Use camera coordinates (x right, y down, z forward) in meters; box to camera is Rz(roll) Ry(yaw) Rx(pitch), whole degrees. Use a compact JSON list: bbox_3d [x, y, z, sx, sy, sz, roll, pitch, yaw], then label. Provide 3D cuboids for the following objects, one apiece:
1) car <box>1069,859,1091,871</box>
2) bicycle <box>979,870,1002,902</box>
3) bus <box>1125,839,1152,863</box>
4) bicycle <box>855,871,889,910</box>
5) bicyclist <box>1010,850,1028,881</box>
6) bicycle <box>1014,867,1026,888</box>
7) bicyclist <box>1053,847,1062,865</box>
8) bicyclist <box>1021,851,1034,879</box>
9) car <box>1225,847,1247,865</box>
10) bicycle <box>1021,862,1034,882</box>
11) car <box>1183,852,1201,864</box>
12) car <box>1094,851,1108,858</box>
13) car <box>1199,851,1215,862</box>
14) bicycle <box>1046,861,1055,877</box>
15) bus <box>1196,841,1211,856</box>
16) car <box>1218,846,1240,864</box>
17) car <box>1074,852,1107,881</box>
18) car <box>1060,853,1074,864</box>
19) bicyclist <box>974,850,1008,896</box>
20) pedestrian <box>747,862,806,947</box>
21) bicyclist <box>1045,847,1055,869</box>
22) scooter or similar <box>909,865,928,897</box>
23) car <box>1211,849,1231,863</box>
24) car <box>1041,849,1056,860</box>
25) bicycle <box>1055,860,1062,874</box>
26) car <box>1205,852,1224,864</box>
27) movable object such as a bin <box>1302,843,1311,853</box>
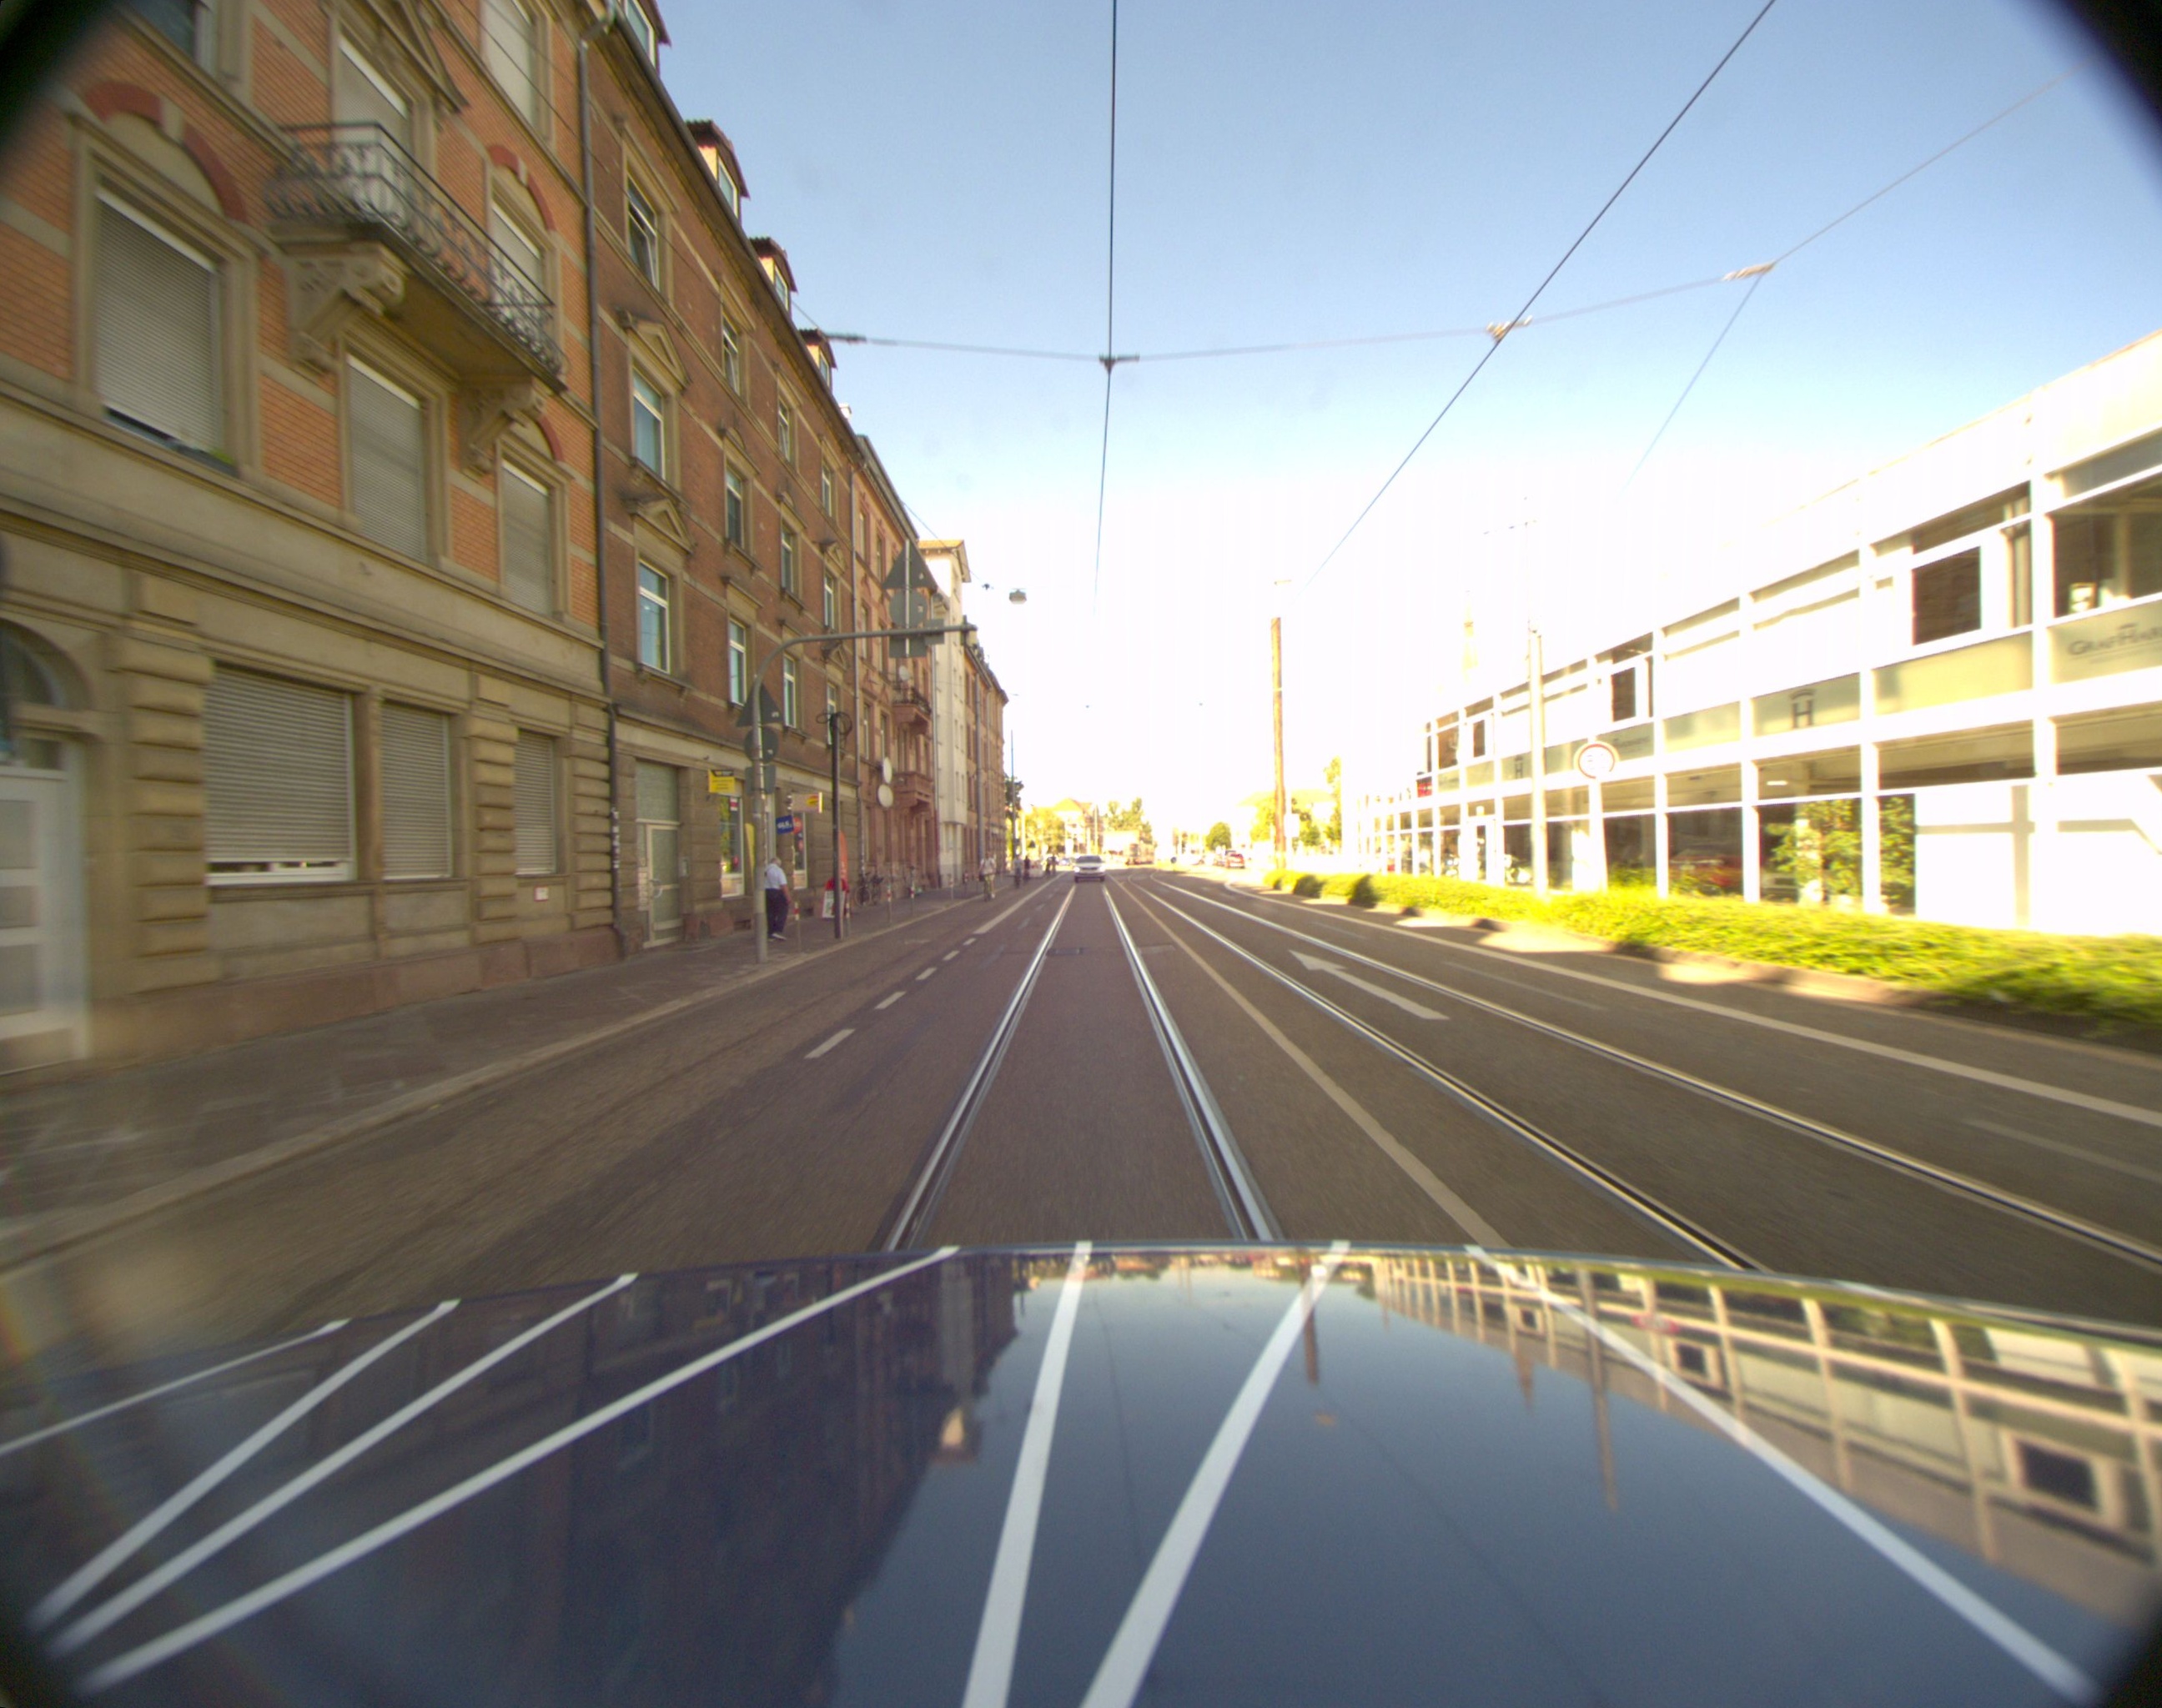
[{"bbox_3d":[-0.191,1.467,101.968,1.888,1.557,4.007,-3,1,-16],"label":"car"},{"bbox_3d":[-3.417,1.195,28.677,0.533,1.111,1.934,-3,0,1],"label":"bicycle"},{"bbox_3d":[9.275,-0.534,121.592,2.846,3.568,11.279,-2,0,11],"label":"bus"},{"bbox_3d":[-6.743,1.160,24.638,0.410,1.115,1.898,0,1,5],"label":"bicycle"},{"bbox_3d":[-3.238,0.610,39.984,0.784,1.584,0.886,-2,0,3],"label":"bicyclist"},{"bbox_3d":[-3.200,1.221,39.923,0.387,1.062,1.934,-2,0,3],"label":"bicycle"},{"bbox_3d":[-1.977,0.167,64.147,0.675,1.413,1.036,-3,1,1],"label":"bicyclist"},{"bbox_3d":[-3.191,0.672,45.319,0.625,1.604,0.981,-3,1,1],"label":"bicyclist"},{"bbox_3d":[15.799,0.215,77.508,1.803,1.709,4.418,-1,1,7],"label":"car"},{"bbox_3d":[-3.200,1.068,45.328,0.533,1.111,1.933,-1,1,2],"label":"bicycle"},{"bbox_3d":[14.455,0.479,99.175,1.807,1.424,4.540,-3,1,2],"label":"car"},{"bbox_3d":[4.433,0.178,169.462,1.914,1.449,4.594,-2,1,-12],"label":"car"},{"bbox_3d":[17.135,0.331,103.567,1.653,1.470,3.971,0,0,2],"label":"car"},{"bbox_3d":[-2.251,1.071,55.798,0.533,1.111,1.933,-3,1,0],"label":"bicycle"},{"bbox_3d":[31.324,-1.514,193.946,2.846,3.104,11.826,-3,2,12],"label":"bus"},{"bbox_3d":[16.477,0.128,84.784,1.807,1.922,4.165,-1,1,3],"label":"car"},{"bbox_3d":[0.607,0.722,46.646,1.868,1.635,4.397,-2,0,1],"label":"car"},{"bbox_3d":[-2.233,0.705,117.963,1.887,1.557,4.010,-3,1,-5],"label":"car"},{"bbox_3d":[-3.398,0.699,28.740,0.681,1.674,1.122,-3,1,25],"label":"bicyclist"},{"bbox_3d":[-5.887,0.962,14.739,0.800,1.596,0.652,-2,1,3],"label":"pedestrian"},{"bbox_3d":[-2.288,0.286,55.959,0.551,1.604,0.953,-3,1,0],"label":"bicyclist"},{"bbox_3d":[-6.578,1.066,30.741,0.407,1.204,1.480,0,1,1],"label":"scooter or similar"},{"bbox_3d":[16.852,0.197,91.517,1.807,1.569,4.165,-1,1,2],"label":"car"},{"bbox_3d":[-8.641,0.069,201.721,2.246,2.665,5.296,-4,1,-23],"label":"car"},{"bbox_3d":[-1.920,1.089,64.319,0.533,1.152,1.865,-2,0,-1],"label":"bicycle"},{"bbox_3d":[17.273,0.490,98.371,1.807,1.424,4.000,-3,1,2],"label":"car"},{"bbox_3d":[38.733,-1.103,130.535,0.993,1.625,0.935,-4,1,-33],"label":"movable object such as a bin"}]
